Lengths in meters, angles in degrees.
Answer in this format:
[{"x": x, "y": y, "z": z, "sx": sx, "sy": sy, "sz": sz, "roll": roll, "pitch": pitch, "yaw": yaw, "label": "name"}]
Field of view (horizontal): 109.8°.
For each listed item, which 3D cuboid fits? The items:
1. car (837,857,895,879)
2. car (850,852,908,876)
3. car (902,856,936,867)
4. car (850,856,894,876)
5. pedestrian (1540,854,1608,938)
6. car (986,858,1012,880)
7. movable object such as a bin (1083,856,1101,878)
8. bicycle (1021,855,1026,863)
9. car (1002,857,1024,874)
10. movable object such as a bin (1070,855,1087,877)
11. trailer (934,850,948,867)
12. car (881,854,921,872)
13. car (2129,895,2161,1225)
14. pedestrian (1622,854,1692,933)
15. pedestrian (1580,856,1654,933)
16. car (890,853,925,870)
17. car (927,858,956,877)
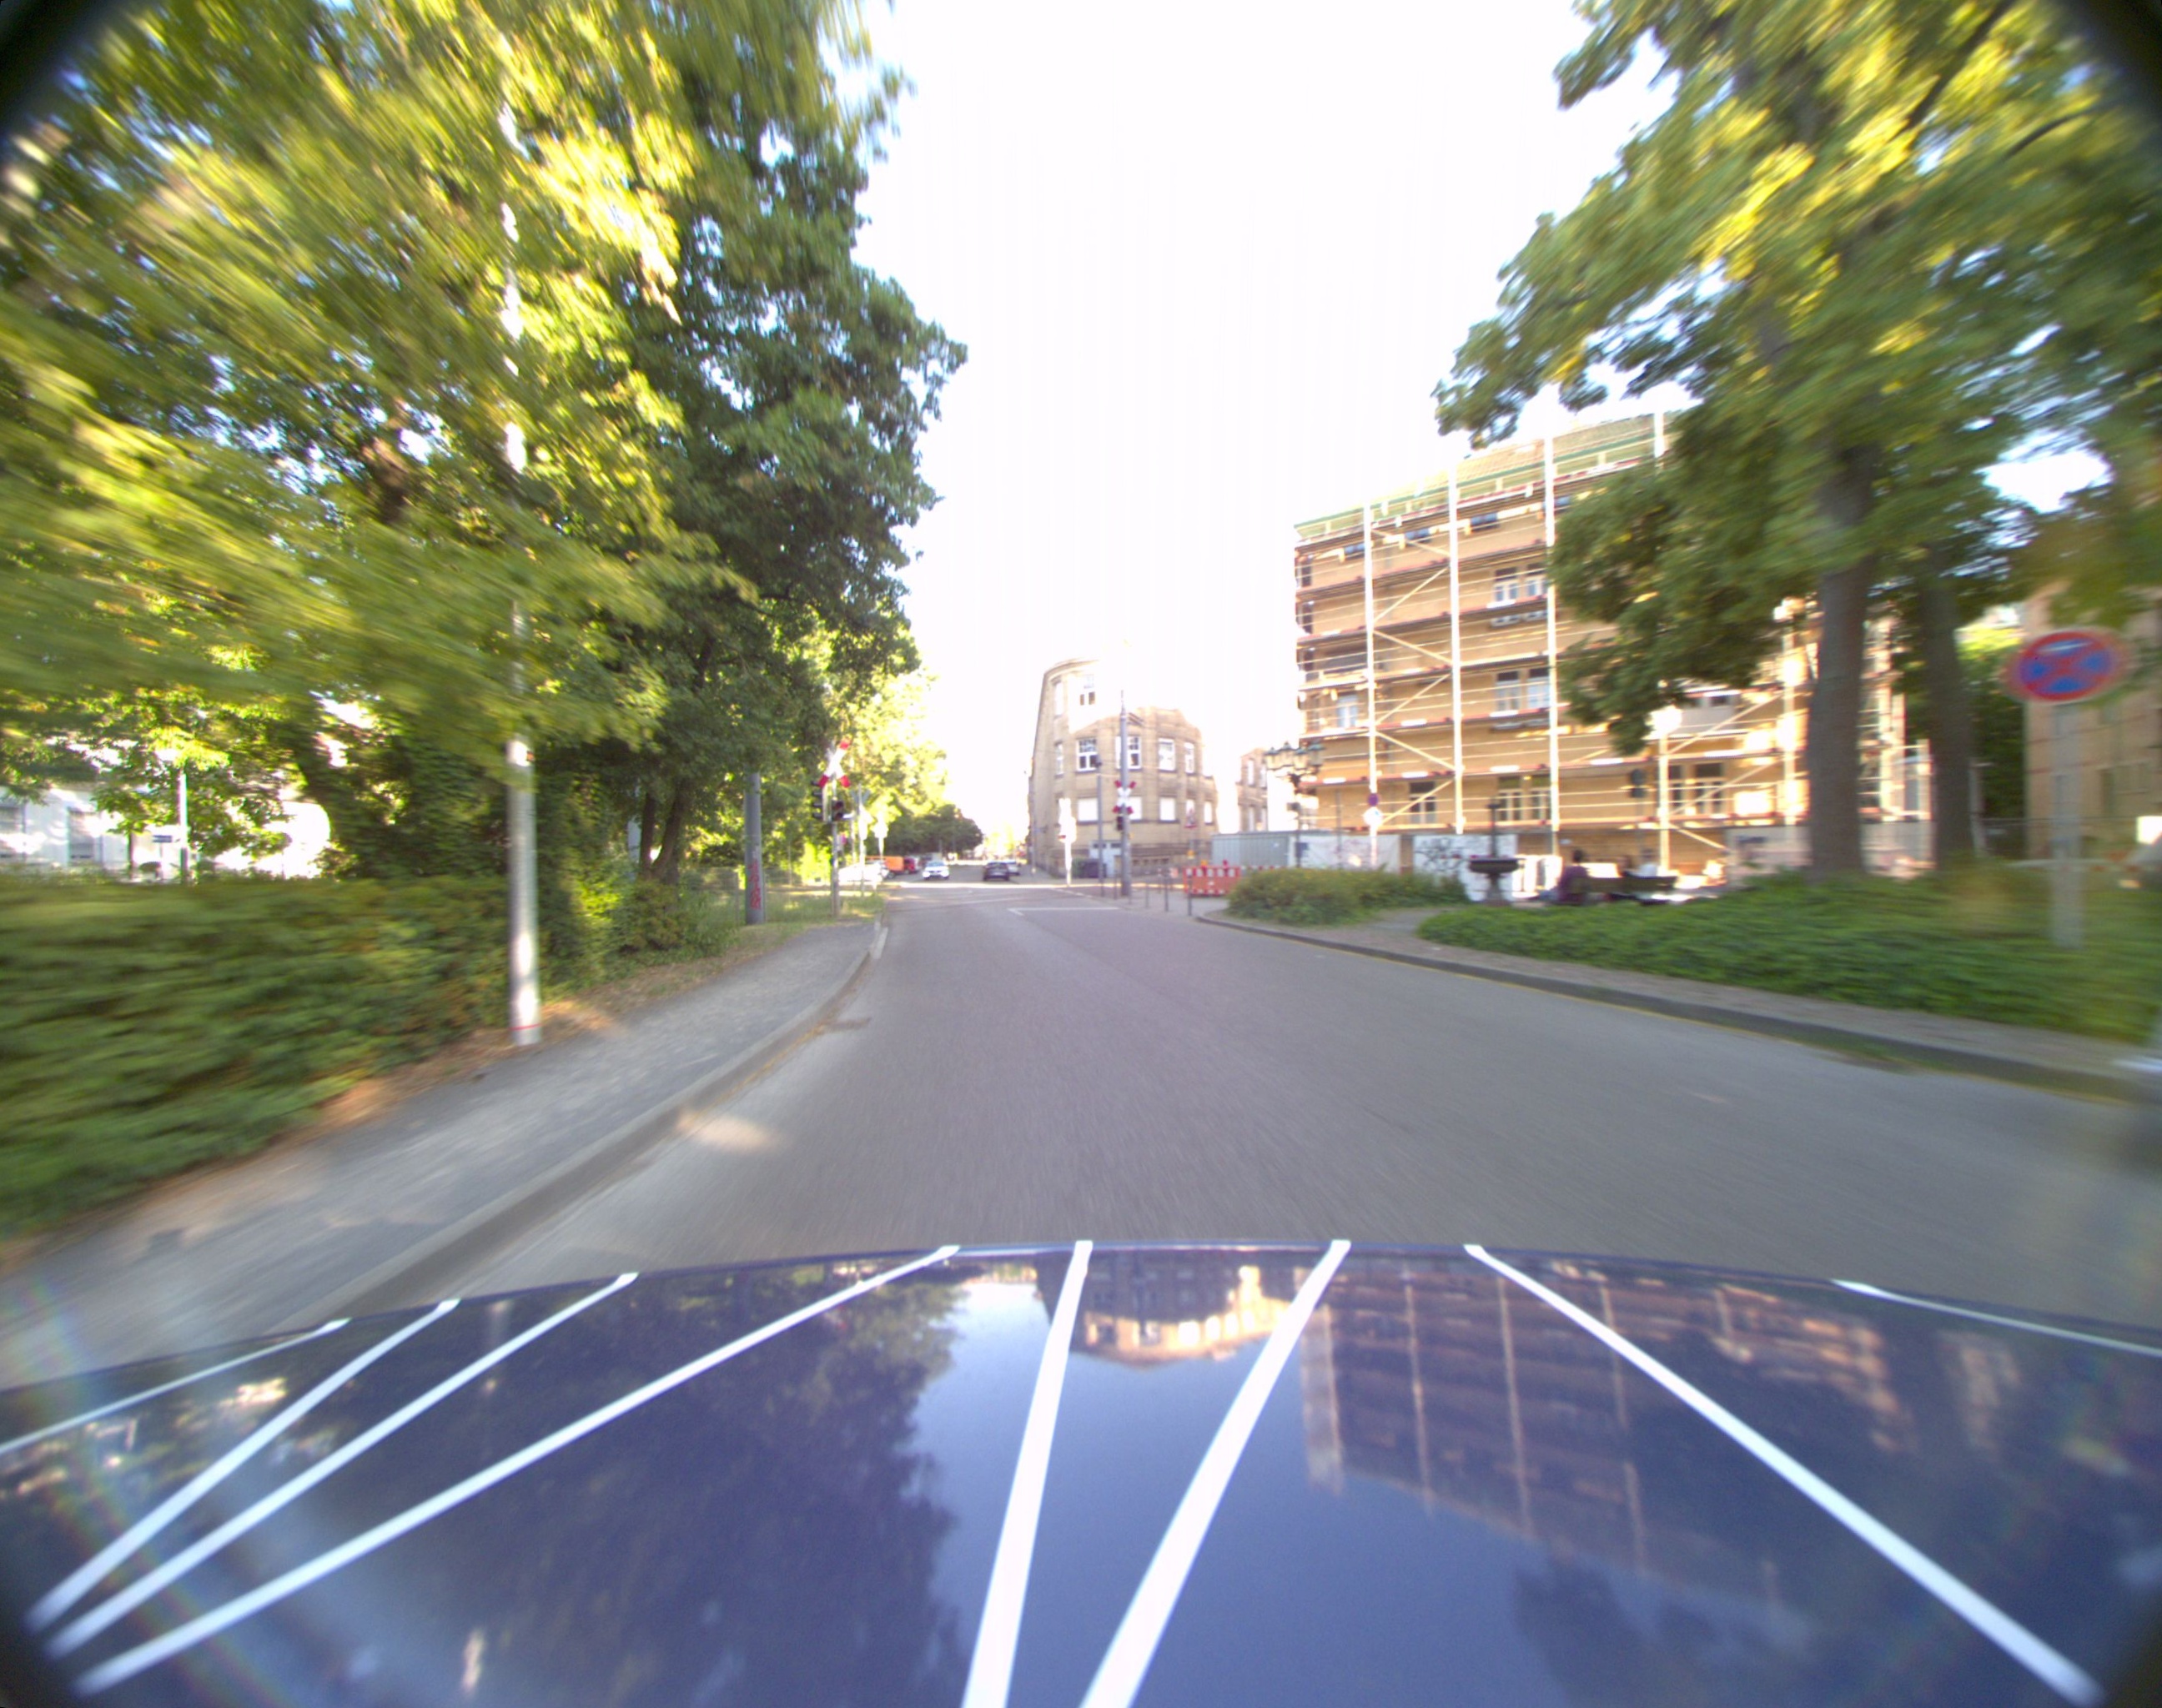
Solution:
[{"x": -15.890, "y": 1.035, "z": 56.382, "sx": 4.001, "sy": 1.537, "sz": 1.733, "roll": 1, "pitch": 0, "yaw": -11, "label": "car"}, {"x": -17.795, "y": 0.891, "z": 67.102, "sx": 4.812, "sy": 1.986, "sz": 2.079, "roll": 1, "pitch": 0, "yaw": -11, "label": "car"}, {"x": -22.862, "y": 1.106, "z": 107.023, "sx": 4.444, "sy": 1.458, "sz": 1.710, "roll": -1, "pitch": 0, "yaw": -4, "label": "car"}, {"x": -17.661, "y": 0.982, "z": 64.361, "sx": 3.407, "sy": 1.622, "sz": 1.678, "roll": 1, "pitch": 0, "yaw": -7, "label": "car"}, {"x": 7.915, "y": 0.657, "z": 12.229, "sx": 0.552, "sy": 1.290, "sz": 0.765, "roll": -1, "pitch": 0, "yaw": -4, "label": "pedestrian"}, {"x": -5.814, "y": 1.009, "z": 53.582, "sx": 1.749, "sy": 1.439, "sz": 4.205, "roll": -1, "pitch": 0, "yaw": -7, "label": "car"}, {"x": 0.766, "y": 0.866, "z": 51.725, "sx": 1.185, "sy": 1.420, "sz": 1.922, "roll": -1, "pitch": 0, "yaw": 2, "label": "movable object such as a bin"}, {"x": -8.741, "y": 0.734, "z": 114.810, "sx": 0.458, "sy": 1.202, "sz": 1.878, "roll": -1, "pitch": 0, "yaw": 4, "label": "bicycle"}, {"x": -6.358, "y": 1.006, "z": 70.804, "sx": 1.749, "sy": 1.426, "sz": 4.557, "roll": -2, "pitch": 0, "yaw": -9, "label": "car"}, {"x": -0.170, "y": 0.791, "z": 52.804, "sx": 1.148, "sy": 1.477, "sz": 1.628, "roll": -1, "pitch": 0, "yaw": 2, "label": "movable object such as a bin"}, {"x": -21.918, "y": 0.676, "z": 118.888, "sx": 1.602, "sy": 2.625, "sz": 3.701, "roll": -1, "pitch": 0, "yaw": -4, "label": "trailer"}, {"x": -19.835, "y": 0.976, "z": 83.644, "sx": 3.982, "sy": 1.852, "sz": 1.919, "roll": 0, "pitch": 0, "yaw": -2, "label": "car"}, {"x": 6.124, "y": 0.879, "z": 1.459, "sx": 1.787, "sy": 1.407, "sz": 4.491, "roll": 1, "pitch": -1, "yaw": -17, "label": "car"}, {"x": 9.348, "y": 0.621, "z": 12.351, "sx": 0.552, "sy": 1.226, "sz": 0.724, "roll": -1, "pitch": 0, "yaw": -4, "label": "pedestrian"}, {"x": 8.747, "y": 0.641, "z": 12.432, "sx": 0.552, "sy": 1.188, "sz": 0.883, "roll": -1, "pitch": 0, "yaw": -4, "label": "pedestrian"}, {"x": -19.734, "y": 0.869, "z": 86.306, "sx": 3.611, "sy": 1.873, "sz": 1.783, "roll": 0, "pitch": 1, "yaw": -3, "label": "car"}, {"x": -10.997, "y": 1.049, "z": 60.302, "sx": 1.688, "sy": 1.445, "sz": 4.101, "roll": -1, "pitch": 0, "yaw": -3, "label": "car"}]
